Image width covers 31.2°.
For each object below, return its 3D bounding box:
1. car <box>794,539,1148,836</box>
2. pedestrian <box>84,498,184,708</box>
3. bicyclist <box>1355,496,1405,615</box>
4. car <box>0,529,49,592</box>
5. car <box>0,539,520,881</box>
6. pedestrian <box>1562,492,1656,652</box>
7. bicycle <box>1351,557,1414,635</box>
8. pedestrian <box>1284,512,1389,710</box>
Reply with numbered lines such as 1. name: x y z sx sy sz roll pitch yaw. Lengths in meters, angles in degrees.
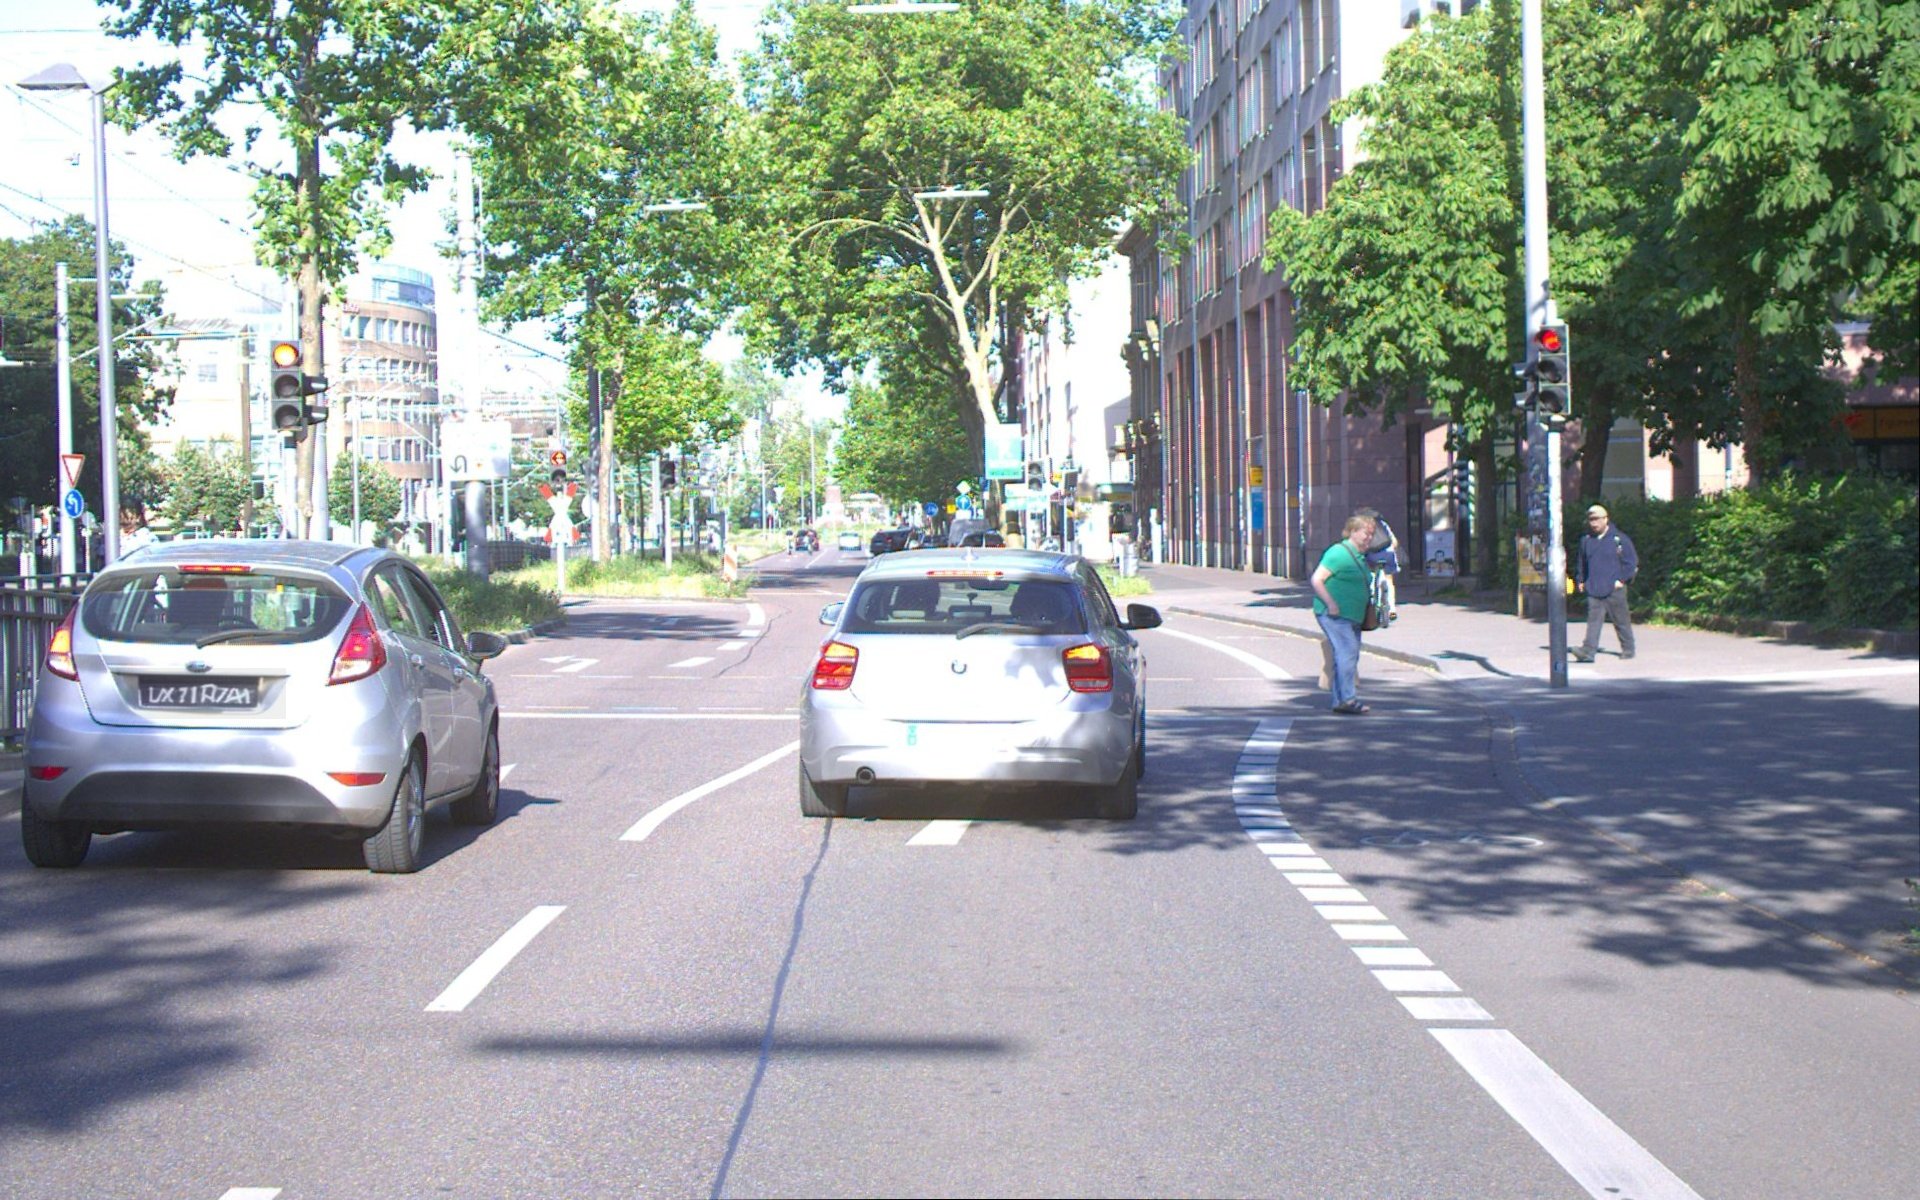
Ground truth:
1. car: 0.156 0.403 19.152 1.730 1.385 3.840 1 2 4
2. pedestrian: -6.448 0.030 26.851 0.639 1.614 0.641 -1 -1 -4
3. bicyclist: 5.933 -0.632 48.563 0.658 1.651 0.765 -1 1 8
4. car: -25.730 -1.043 91.030 1.994 1.619 4.000 0 1 3
5. car: -3.144 0.428 16.101 1.660 1.404 3.632 0 1 1
6. pedestrian: 6.697 -0.294 35.469 0.628 1.623 0.942 1 1 34
7. bicycle: 5.986 -0.066 48.663 0.832 1.038 1.874 -1 1 8
8. pedestrian: 3.044 0.083 27.751 0.830 1.570 0.739 0 1 7
